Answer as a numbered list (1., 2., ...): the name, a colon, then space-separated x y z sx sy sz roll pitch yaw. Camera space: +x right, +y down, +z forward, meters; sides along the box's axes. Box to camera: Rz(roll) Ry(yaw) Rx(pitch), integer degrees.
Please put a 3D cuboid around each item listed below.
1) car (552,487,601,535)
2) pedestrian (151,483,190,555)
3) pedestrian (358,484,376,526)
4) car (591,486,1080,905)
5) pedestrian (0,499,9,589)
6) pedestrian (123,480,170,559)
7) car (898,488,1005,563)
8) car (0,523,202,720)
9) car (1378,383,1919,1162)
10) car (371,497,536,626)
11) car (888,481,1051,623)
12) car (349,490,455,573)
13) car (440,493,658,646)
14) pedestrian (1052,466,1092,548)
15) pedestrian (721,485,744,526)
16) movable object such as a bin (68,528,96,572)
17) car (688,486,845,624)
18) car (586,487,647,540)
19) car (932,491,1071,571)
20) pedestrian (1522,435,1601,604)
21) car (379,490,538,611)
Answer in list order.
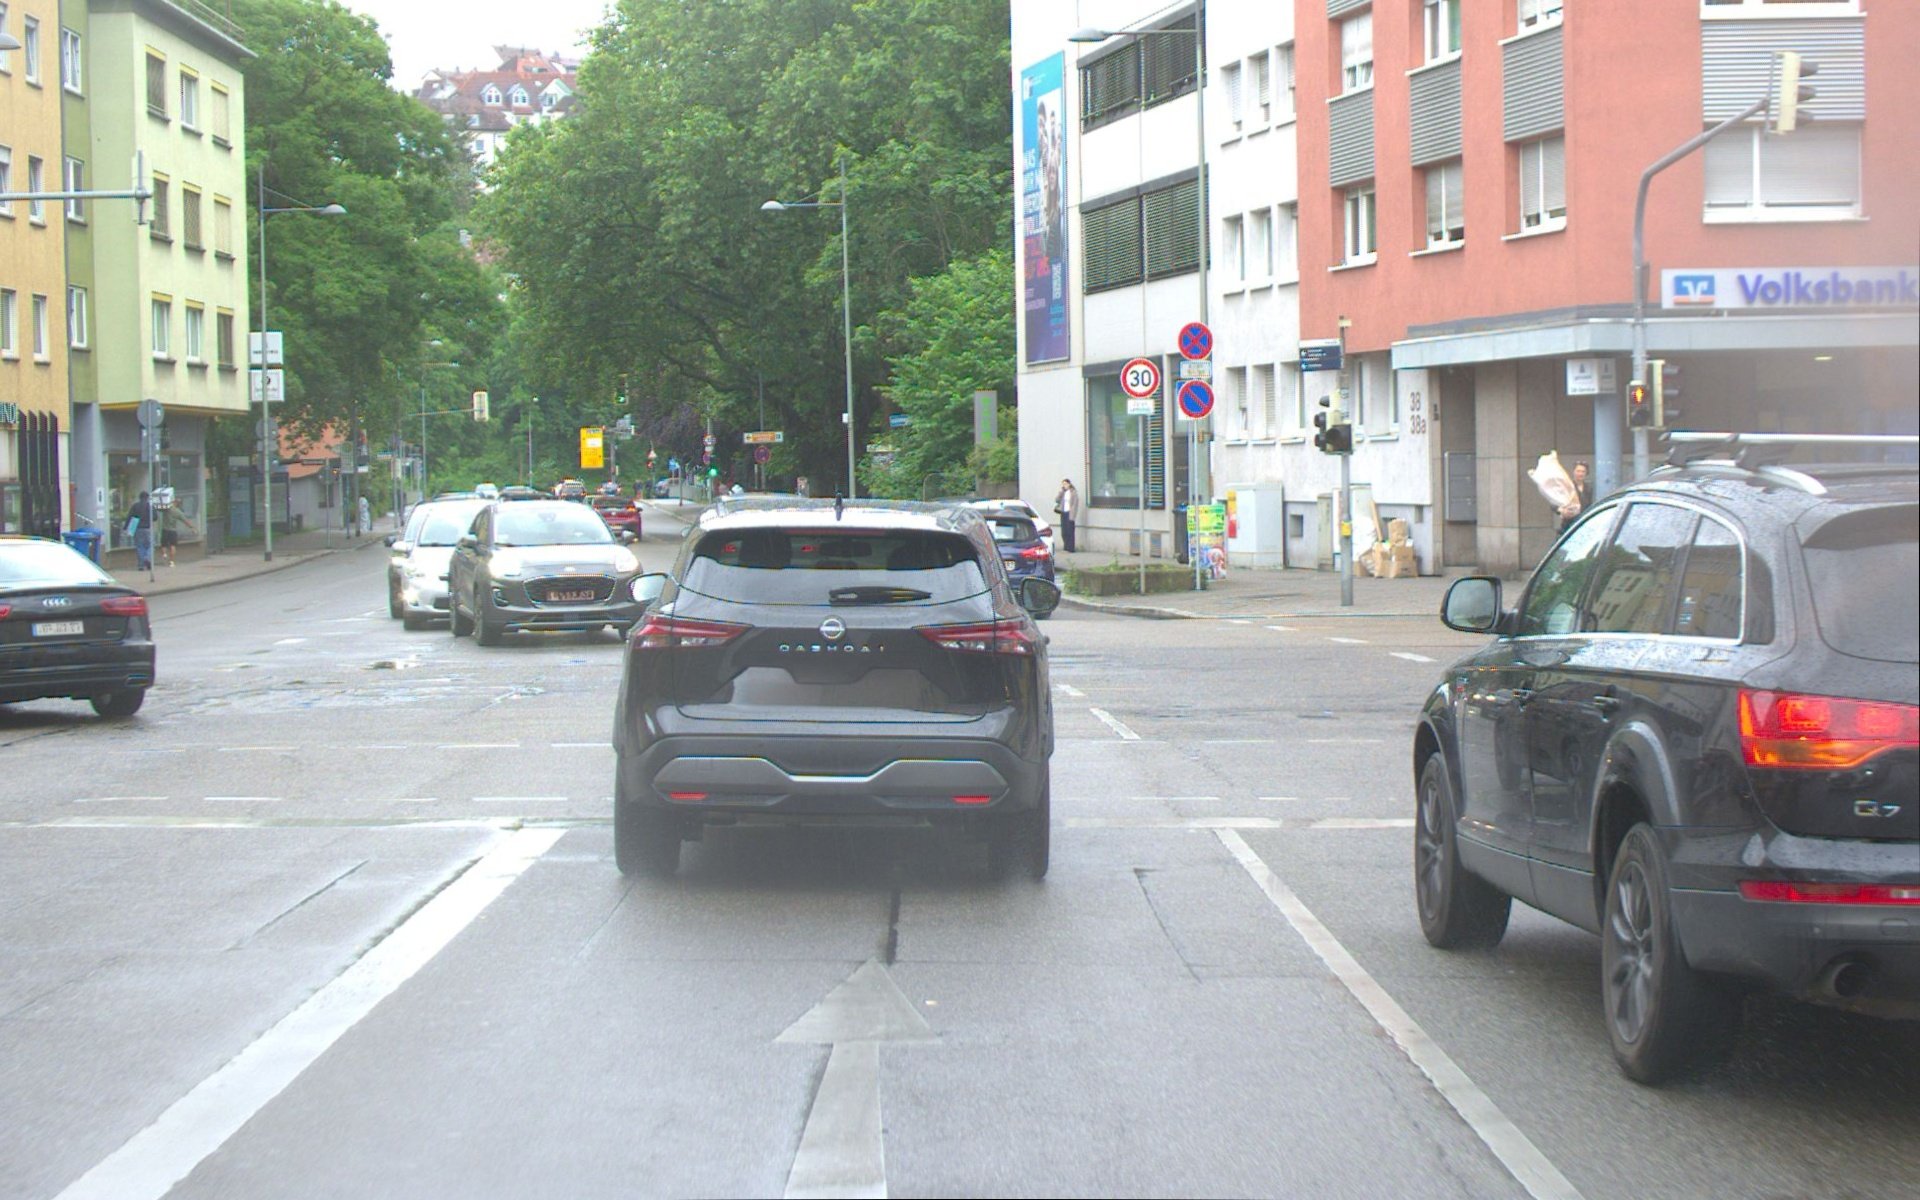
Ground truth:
1. car: -14.899 -3.468 133.693 1.820 1.790 3.866 1 2 -5
2. pedestrian: -18.681 -1.913 81.318 0.798 1.682 0.817 -1 2 -8
3. pedestrian: -25.228 -4.034 146.307 0.666 1.785 0.722 0 2 -14
4. car: -0.628 0.329 15.550 1.894 1.623 4.001 1 1 -4
5. pedestrian: -17.186 -0.991 60.551 0.687 1.576 0.652 1 2 0
6. pedestrian: -18.671 -1.853 78.920 0.865 1.782 0.875 1 2 -2
7. car: -0.207 -1.603 72.520 1.714 1.437 4.083 -3 2 -7
8. car: -7.737 0.125 26.609 1.994 1.383 4.499 -2 2 -36
9. car: 2.731 0.369 10.716 2.021 1.863 4.900 1 1 -3
10. car: -6.399 -0.501 43.742 1.934 1.521 4.136 -2 1 -7
11. car: 0.088 -0.698 48.509 1.945 1.810 4.001 -3 2 -4
12. car: -13.237 -1.648 81.746 1.993 1.853 4.001 1 2 -2
13. car: -4.603 -0.370 38.009 1.855 1.547 4.228 -2 2 -14
14. pedestrian: 2.427 -2.016 74.717 0.612 1.731 0.681 -3 2 -14
15. pedestrian: -10.010 -4.154 151.184 0.721 1.785 0.667 3 3 41
16. movable object such as a bin: -18.805 -1.065 73.597 0.454 0.926 0.502 -1 2 -1
17. car: -2.664 -0.633 46.525 1.945 1.679 4.001 -3 2 -5
18. car: -10.968 -2.760 109.607 1.820 1.606 3.867 1 2 -7
19. car: 0.757 -1.353 65.902 1.774 1.396 4.581 -3 2 -10
20. pedestrian: 7.742 -1.044 44.261 0.825 2.151 0.770 1 2 -2
21. car: -7.091 -0.712 48.967 1.820 1.603 4.431 -2 1 -3
